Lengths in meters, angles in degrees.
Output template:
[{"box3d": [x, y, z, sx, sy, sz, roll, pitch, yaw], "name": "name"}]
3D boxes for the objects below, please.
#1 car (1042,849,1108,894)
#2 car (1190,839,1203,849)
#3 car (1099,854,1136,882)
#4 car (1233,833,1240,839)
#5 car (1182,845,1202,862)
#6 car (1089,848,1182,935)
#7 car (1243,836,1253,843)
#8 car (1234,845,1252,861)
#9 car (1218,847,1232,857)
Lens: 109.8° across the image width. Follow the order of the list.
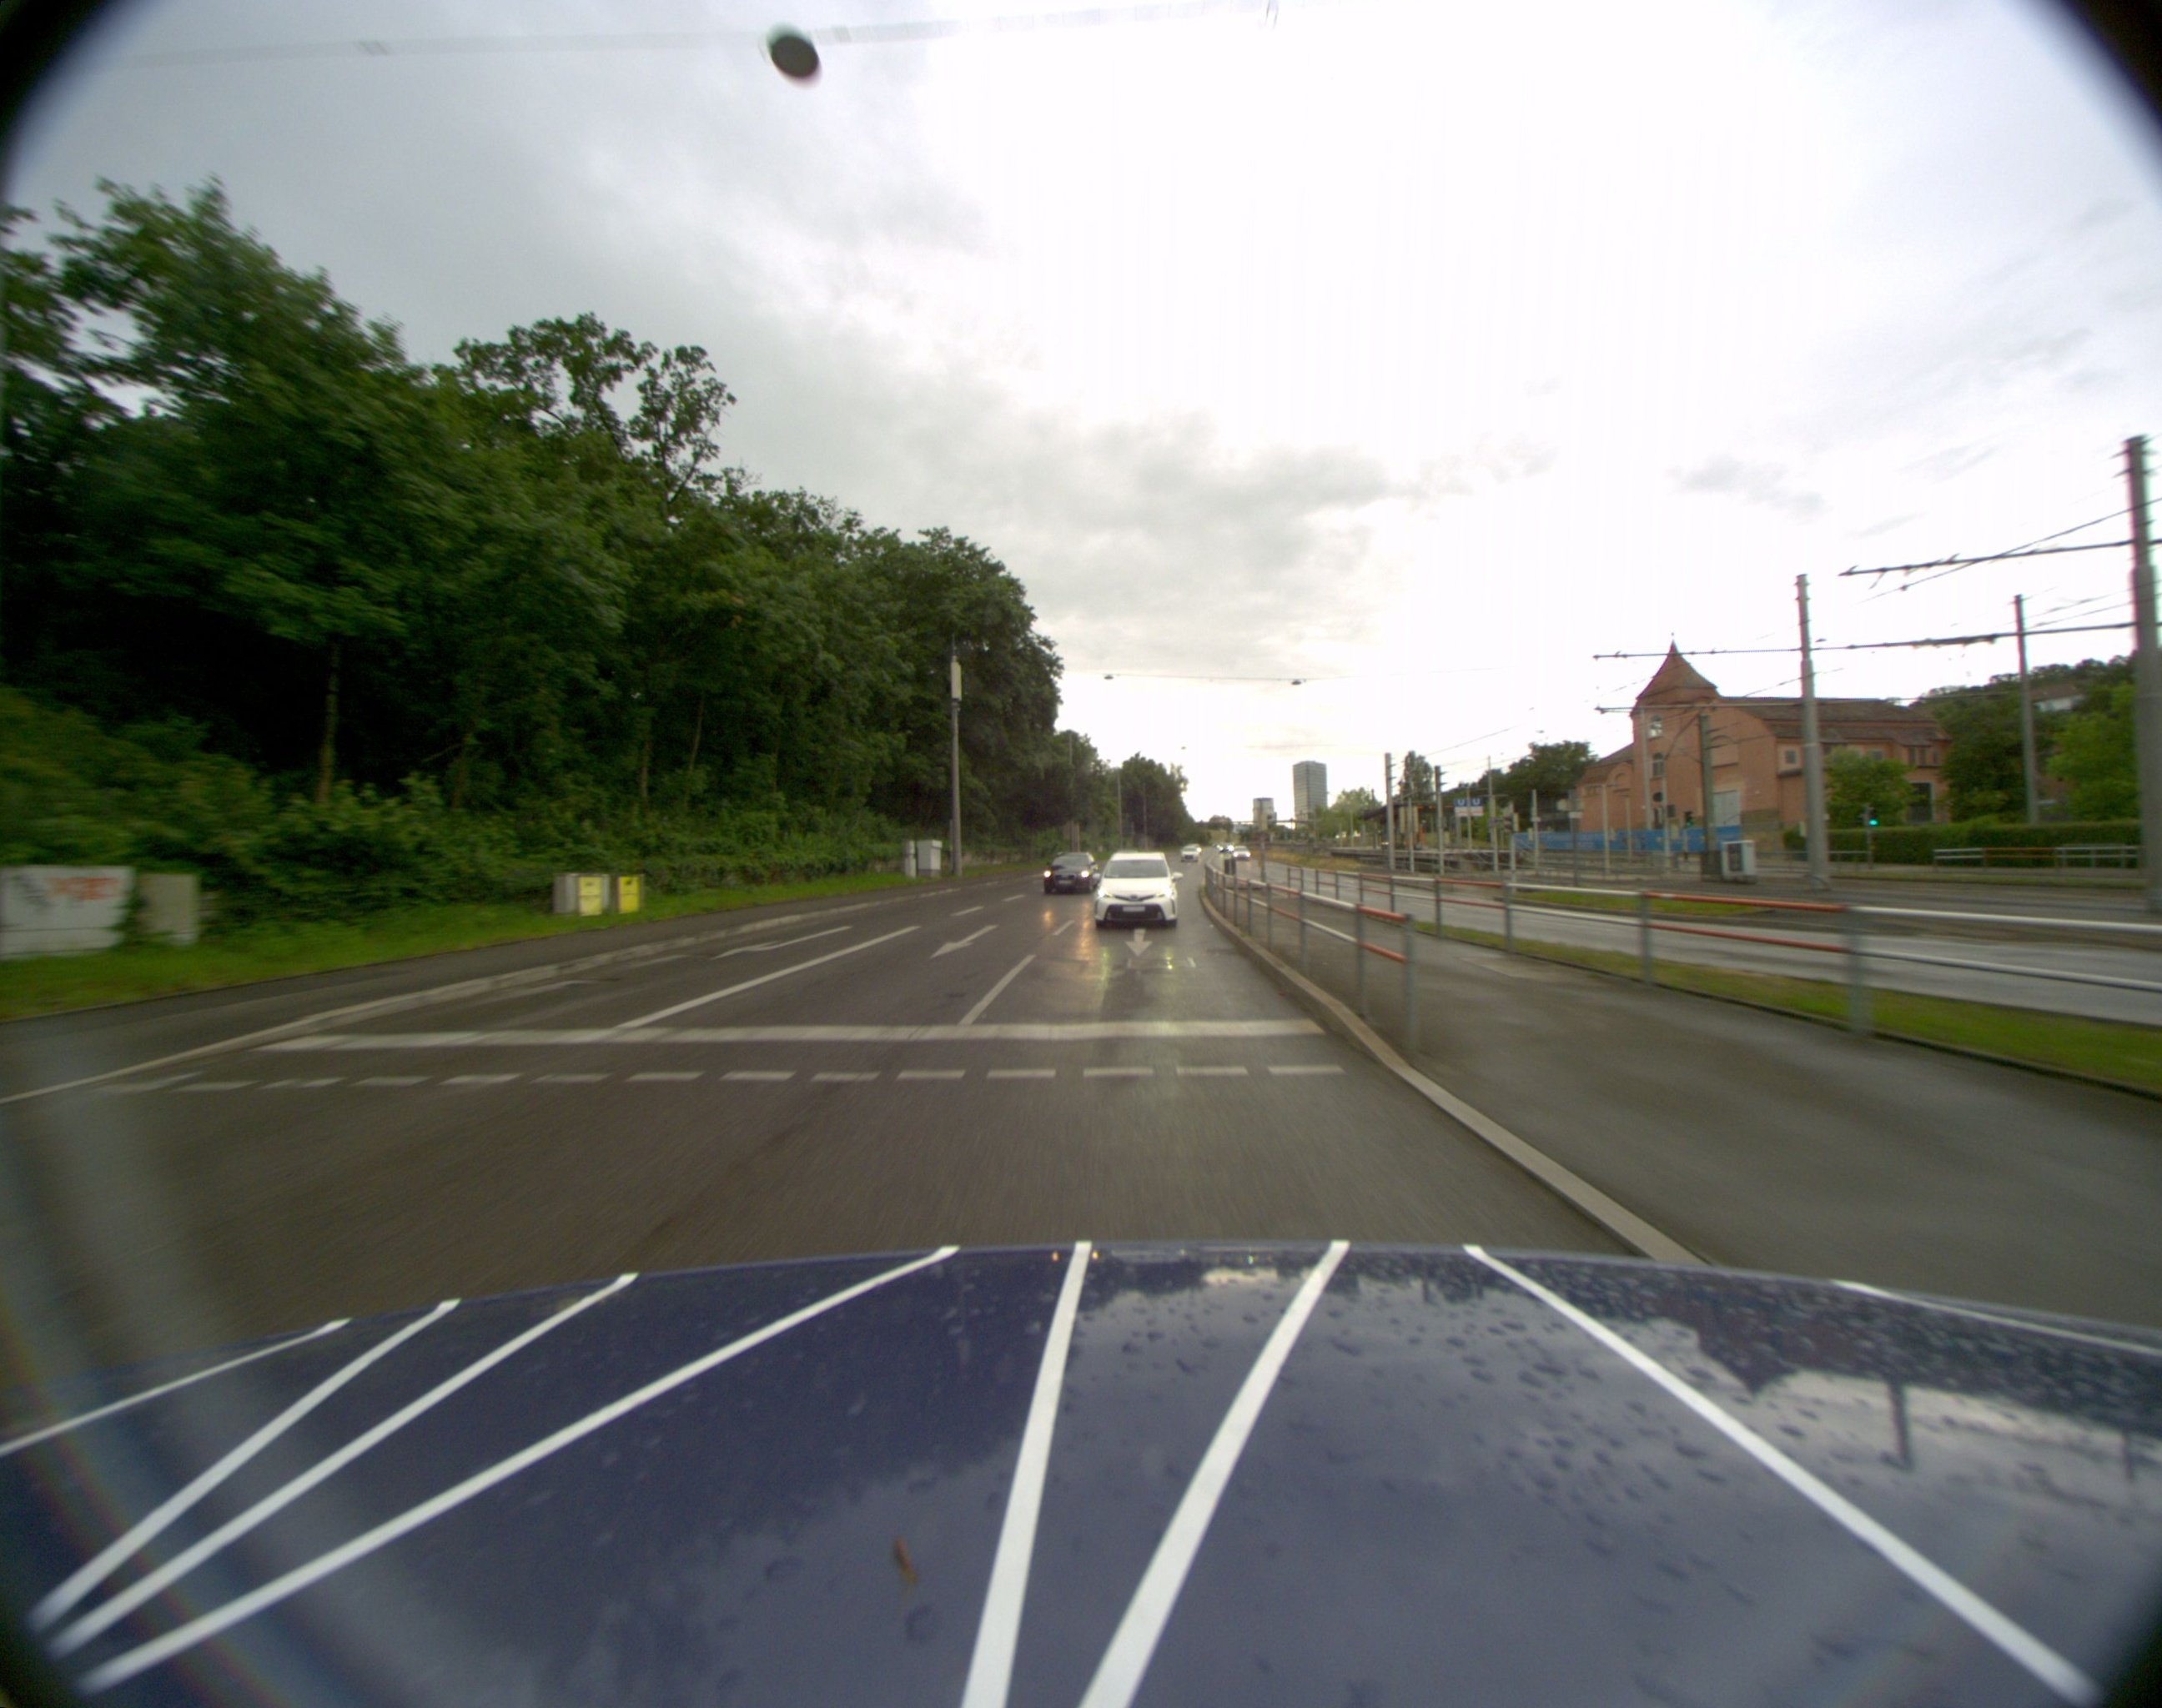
[{"box3d": [-0.160, 0.645, 30.247, 1.854, 1.578, 4.003, -1, 1, 11], "name": "car"}, {"box3d": [17.306, -1.515, 113.749, 1.800, 1.463, 4.002, -1, 0, 7], "name": "car"}, {"box3d": [2.358, 0.844, 47.904, 1.737, 1.578, 4.003, -1, 1, 11], "name": "car"}, {"box3d": [45.439, -5.220, 222.453, 1.800, 1.463, 4.004, -1, 0, 13], "name": "car"}, {"box3d": [11.124, -0.048, 76.207, 1.737, 1.578, 4.003, -1, 1, 11], "name": "car"}, {"box3d": [1.273, 0.754, 17.409, 1.855, 1.741, 4.001, -1, 0, 5], "name": "car"}, {"box3d": [36.314, -3.123, 165.456, 1.800, 1.463, 4.002, -1, 0, 8], "name": "car"}, {"box3d": [16.995, -0.144, 79.818, 1.737, 1.578, 4.003, -1, 1, 11], "name": "car"}, {"box3d": [22.896, -0.275, 120.656, 1.801, 1.463, 4.001, -1, 1, 5], "name": "car"}]
